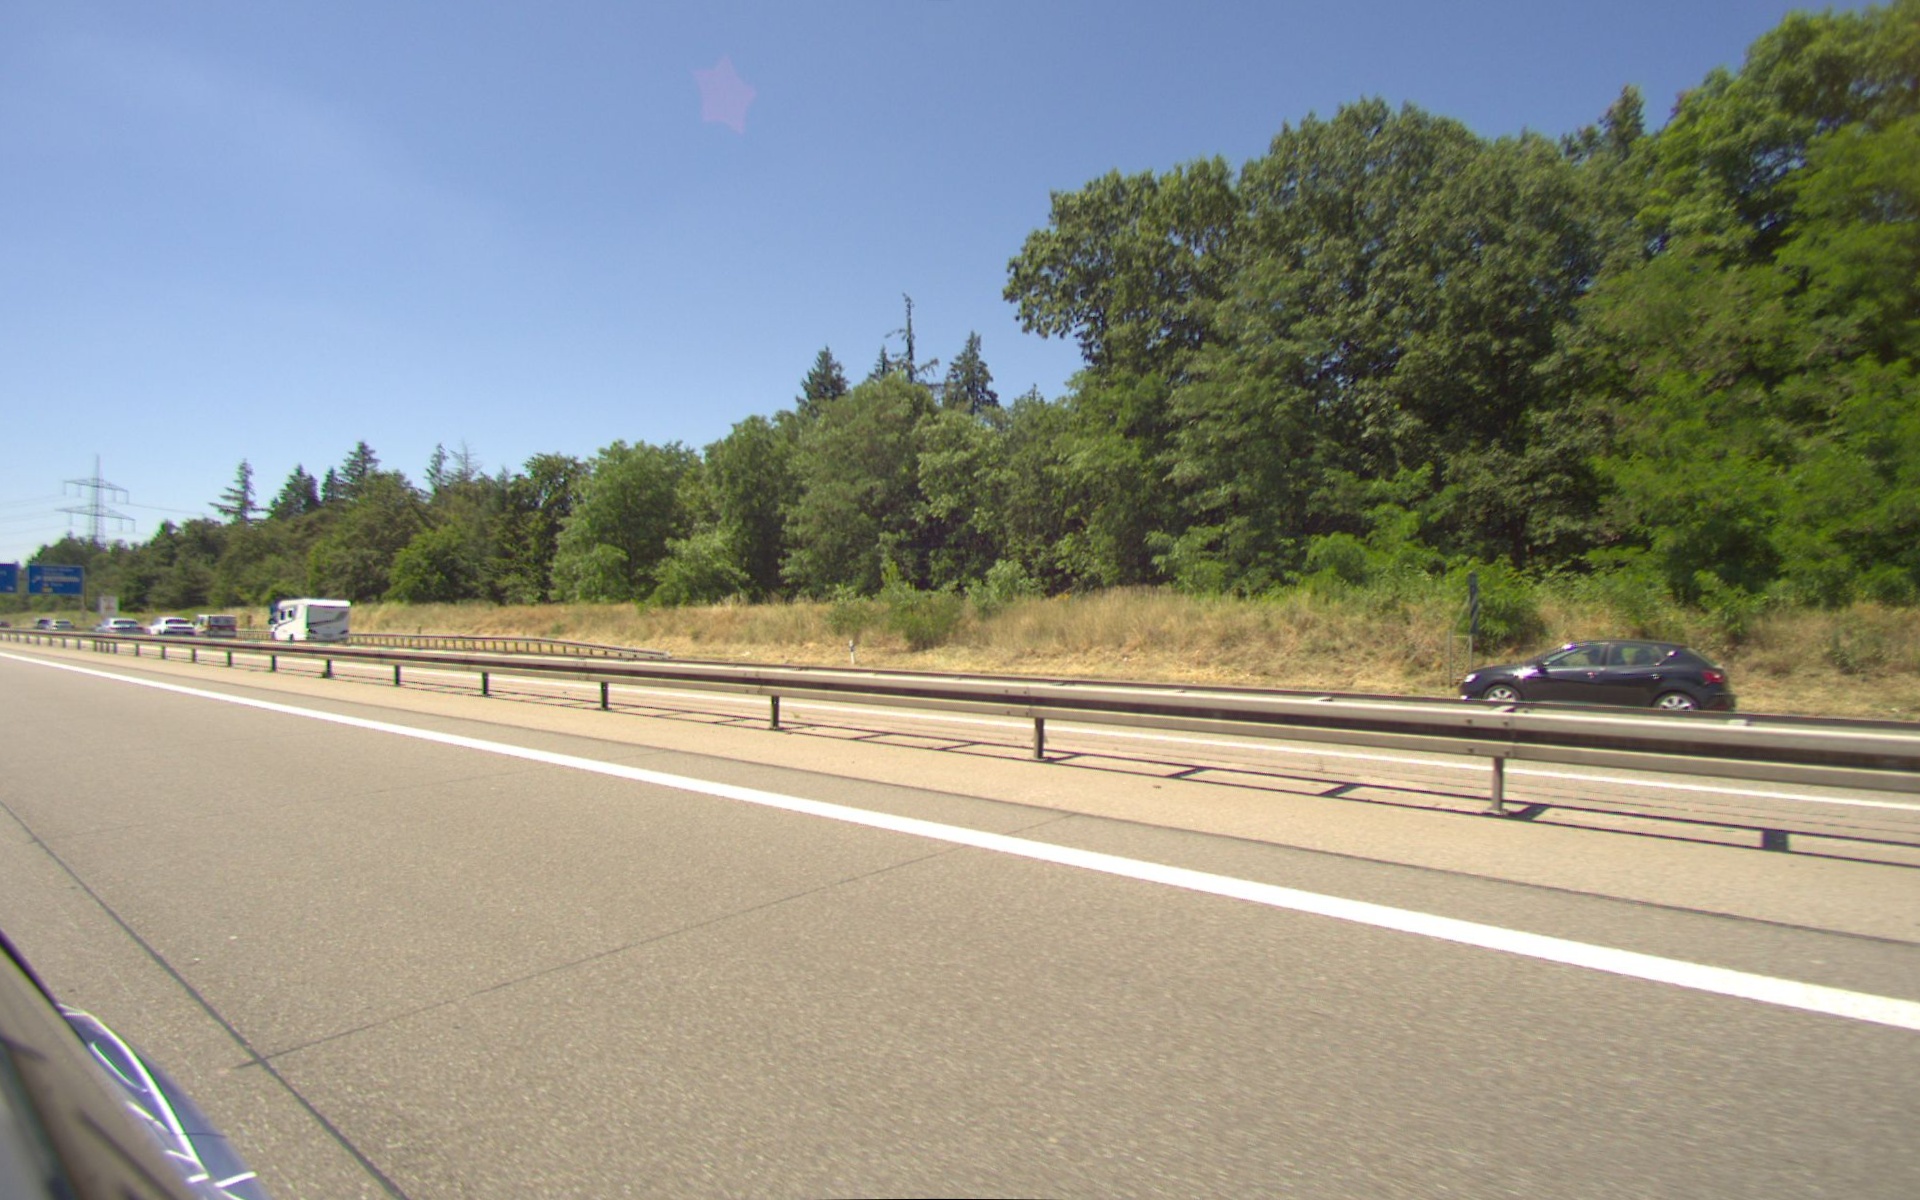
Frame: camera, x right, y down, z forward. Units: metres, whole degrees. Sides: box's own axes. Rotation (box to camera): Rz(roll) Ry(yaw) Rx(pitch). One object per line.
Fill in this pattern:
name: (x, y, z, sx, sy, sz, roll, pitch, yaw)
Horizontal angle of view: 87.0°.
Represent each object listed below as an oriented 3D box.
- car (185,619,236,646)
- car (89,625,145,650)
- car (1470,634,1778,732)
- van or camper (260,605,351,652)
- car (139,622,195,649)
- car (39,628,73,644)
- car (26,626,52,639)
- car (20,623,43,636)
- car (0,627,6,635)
car: (-56.084, 2.423, 75.702, 5.242, 1.968, 1.972, -1, -4, 41)
car: (-49.417, 2.191, 59.328, 4.350, 1.383, 1.817, -1, -4, 41)
car: (10.997, 1.312, 16.923, 4.109, 1.406, 1.795, -1, -4, 41)
van or camper: (-38.732, 1.674, 59.774, 7.766, 2.595, 2.436, -1, -4, 41)
car: (-53.262, 2.364, 67.909, 5.242, 1.707, 1.972, -1, -4, 41)
car: (-88.494, 3.505, 99.087, 5.202, 1.539, 1.832, -1, -2, 41)
car: (-125.627, 4.488, 138.037, 4.976, 1.717, 1.973, -1, -4, 41)
car: (-140.511, 4.479, 153.074, 4.640, 1.842, 1.973, -1, -4, 41)
car: (-179.314, 5.831, 188.470, 4.940, 1.474, 1.907, -2, -2, 41)
